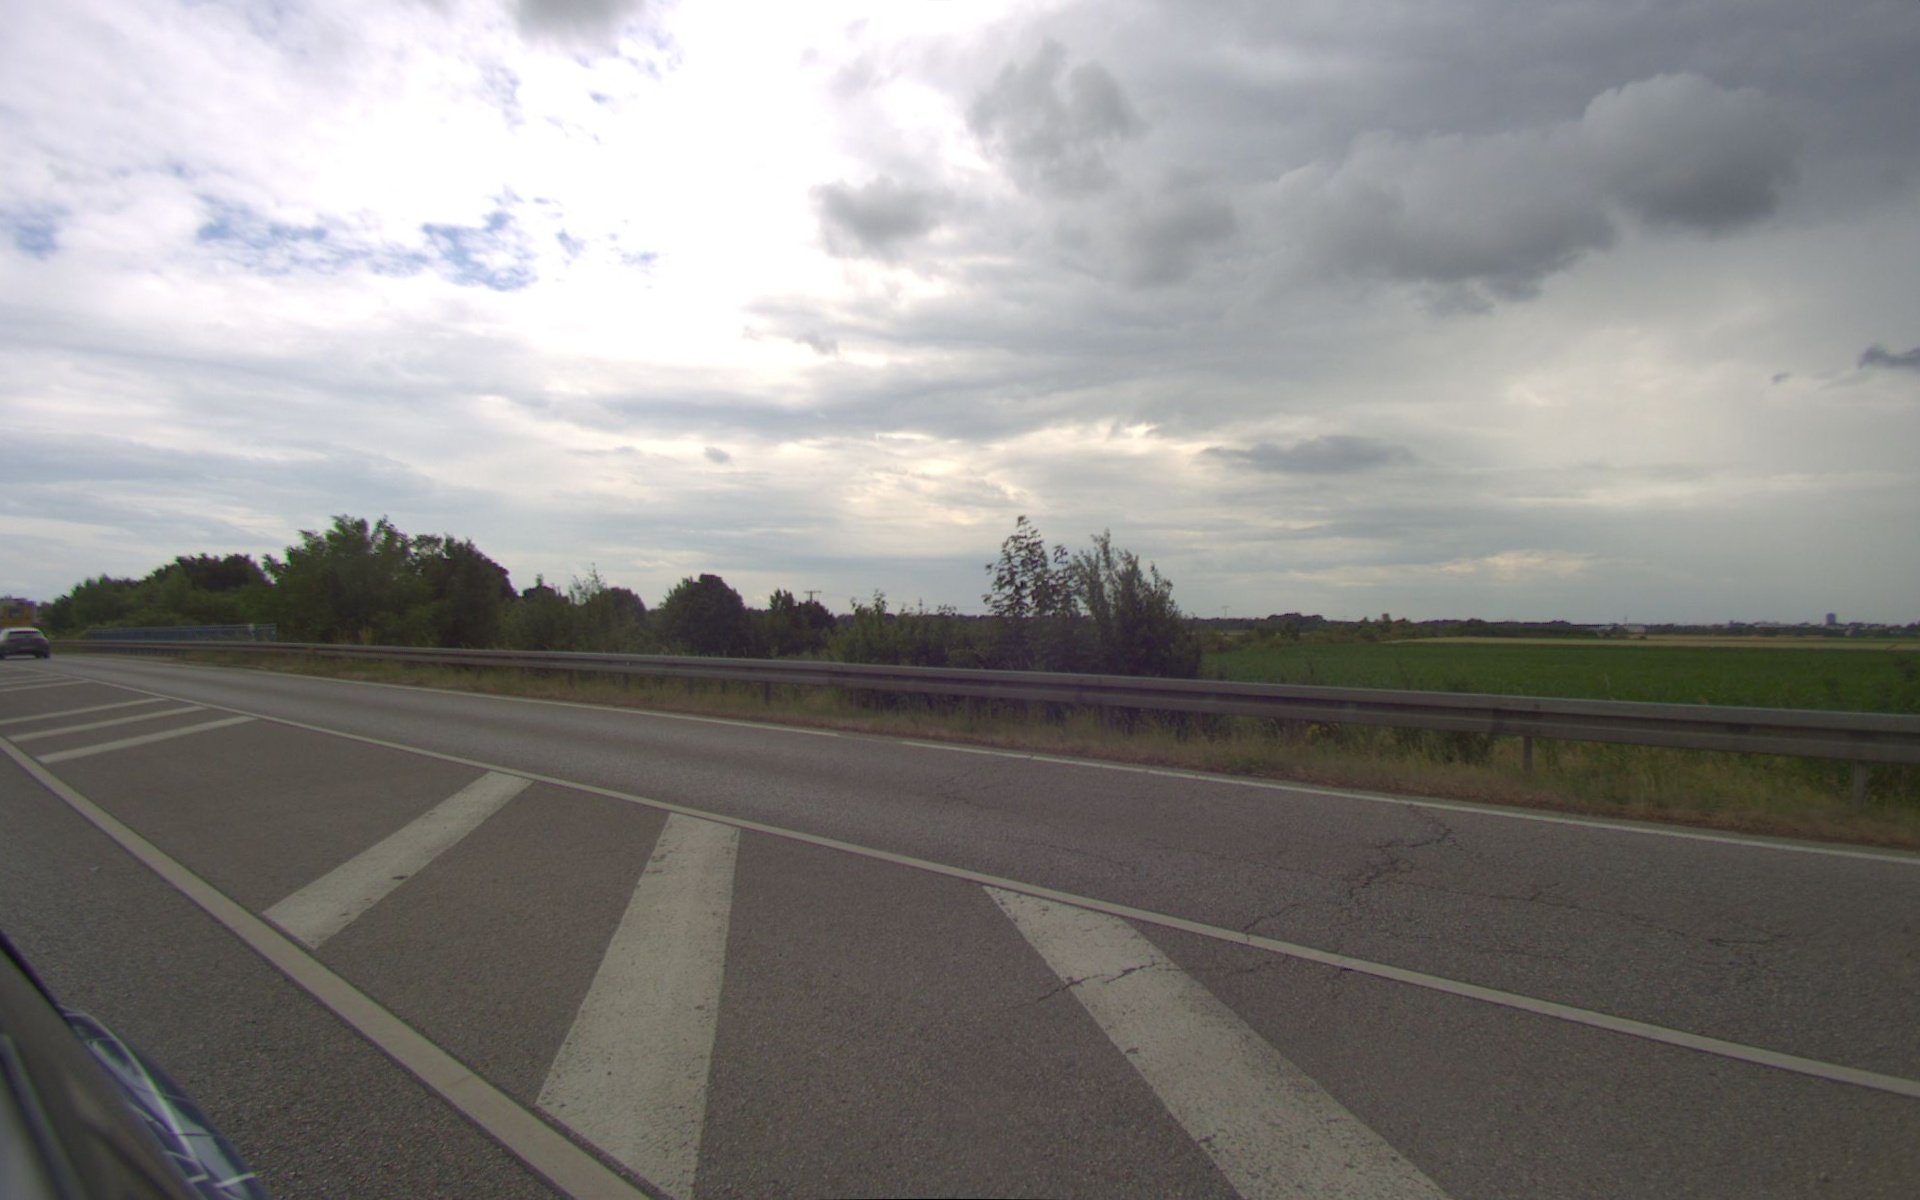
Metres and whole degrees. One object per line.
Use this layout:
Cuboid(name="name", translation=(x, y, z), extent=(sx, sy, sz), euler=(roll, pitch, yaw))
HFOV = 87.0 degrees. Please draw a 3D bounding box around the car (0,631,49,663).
Cuboid(name="car", translation=(-43.952, 2.160, 47.252), extent=(4.510, 1.390, 1.605), euler=(-1, -1, 42))
